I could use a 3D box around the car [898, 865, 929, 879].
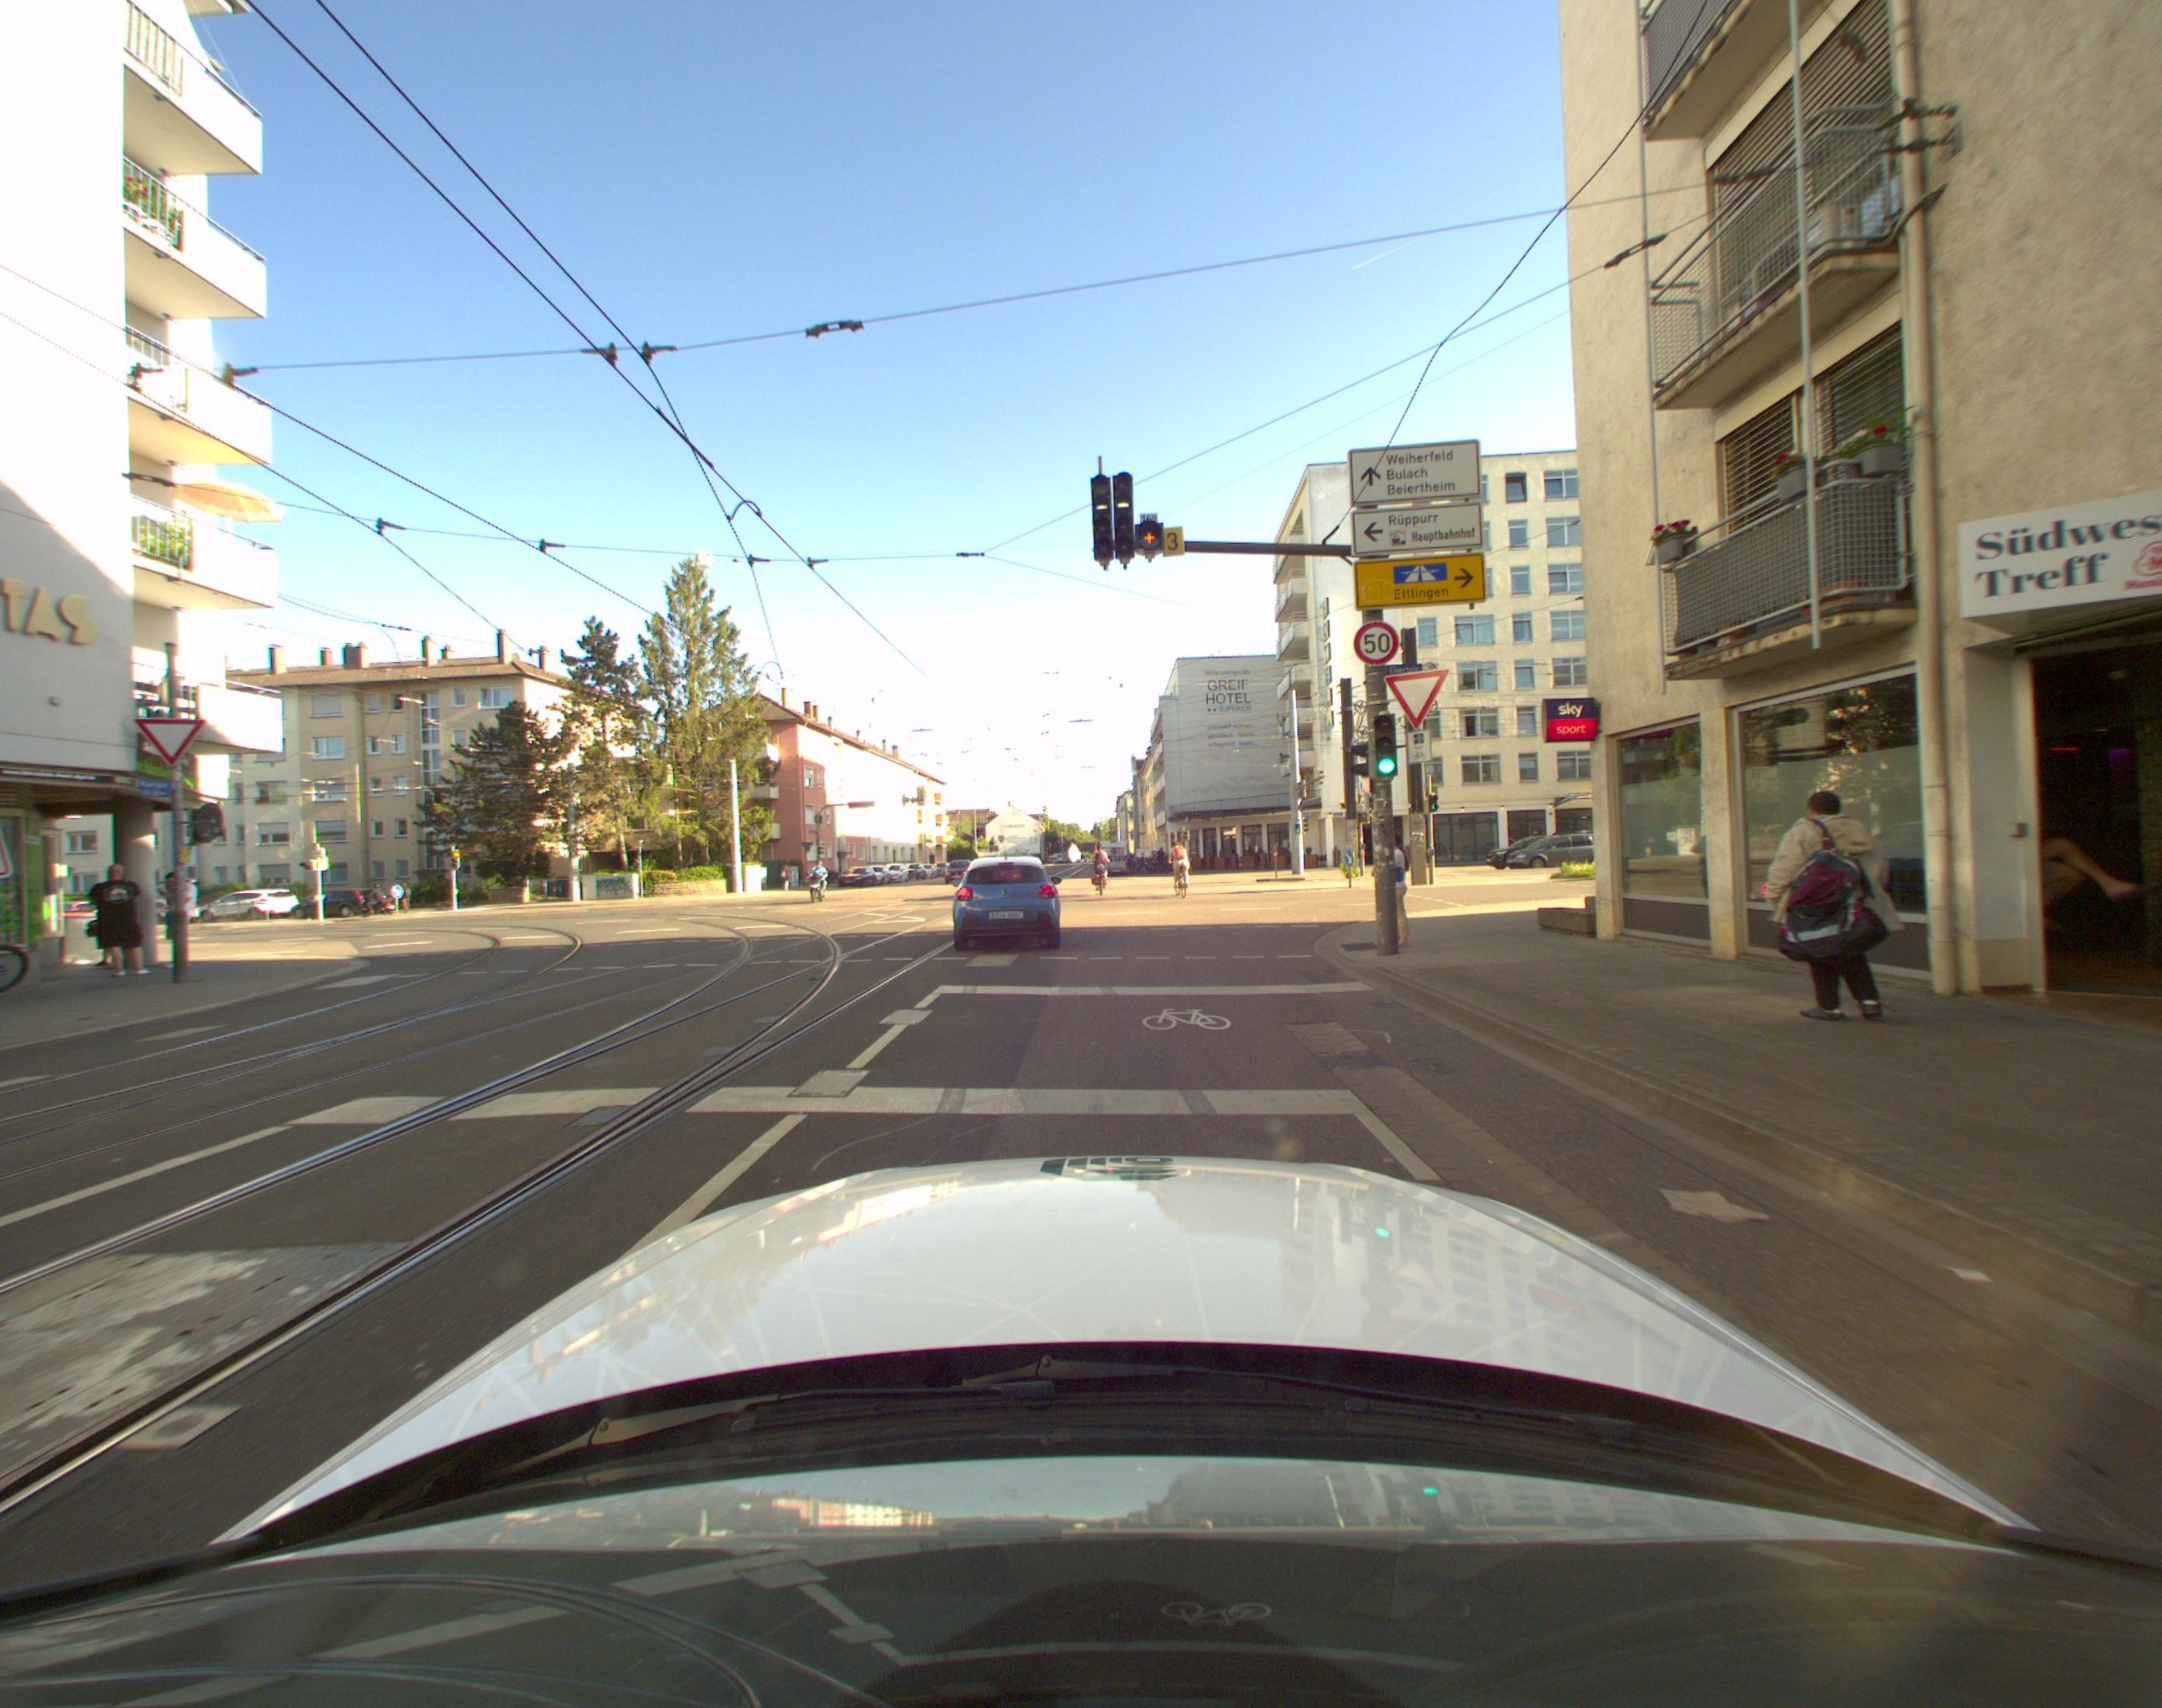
[{"bbox_3d":[-15.389,1.604,75.150,1.940,1.239,4.283,0,0,1],"label":"car"}]

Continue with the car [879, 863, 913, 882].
[{"bbox_3d":[-15.536,1.540,68.619,1.735,1.526,4.231,0,0,2],"label":"car"}]

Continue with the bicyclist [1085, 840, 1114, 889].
[{"bbox_3d":[0.659,0.369,28.556,0.936,1.673,1.080,0,-1,3],"label":"bicyclist"}]

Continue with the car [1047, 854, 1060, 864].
[{"bbox_3d":[-5.281,0.999,158.833,2.209,1.932,4.951,0,0,2],"label":"car"}]

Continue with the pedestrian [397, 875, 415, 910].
[{"bbox_3d":[-37.386,2.129,45.088,0.703,1.886,0.772,0,-1,-35],"label":"pedestrian"}]

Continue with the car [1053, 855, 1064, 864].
[{"bbox_3d":[-4.849,1.205,176.740,2.066,1.762,5.039,0,0,2],"label":"car"}]

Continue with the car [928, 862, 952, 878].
[{"bbox_3d":[-15.118,1.703,87.436,1.863,1.576,3.999,0,0,0],"label":"car"}]

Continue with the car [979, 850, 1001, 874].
[{"bbox_3d":[-12.060,1.082,107.927,2.408,3.142,3.490,0,-1,2],"label":"car"}]

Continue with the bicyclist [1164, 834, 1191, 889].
[{"bbox_3d":[3.024,0.243,25.463,0.806,1.692,0.937,0,-1,9],"label":"bicyclist"}]

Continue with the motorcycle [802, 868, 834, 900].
[{"bbox_3d":[-10.560,1.200,32.756,0.710,1.220,1.962,-2,-2,-4],"label":"motorcycle"}]

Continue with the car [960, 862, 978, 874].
[{"bbox_3d":[-14.780,1.851,107.415,1.863,1.576,3.999,0,0,0],"label":"car"}]

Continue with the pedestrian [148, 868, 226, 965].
[{"bbox_3d":[-17.059,1.178,15.554,0.731,1.792,0.663,-2,0,8],"label":"pedestrian"}]

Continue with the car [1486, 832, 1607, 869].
[{"bbox_3d":[21.306,-0.166,37.403,4.417,1.548,1.939,-1,-1,5],"label":"car"}]

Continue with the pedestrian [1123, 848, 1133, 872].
[{"bbox_3d":[3.317,0.435,57.378,0.611,1.654,0.671,0,-1,0],"label":"pedestrian"}]

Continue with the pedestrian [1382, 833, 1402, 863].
[{"bbox_3d":[18.500,-0.355,48.455,0.903,1.746,0.737,0,-1,1],"label":"pedestrian"}]

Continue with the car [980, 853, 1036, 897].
[{"bbox_3d":[-2.706,0.749,30.862,1.779,1.521,3.762,0,0,0],"label":"car"}]

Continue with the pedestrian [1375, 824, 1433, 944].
[{"bbox_3d":[4.638,0.422,11.661,0.534,1.624,0.737,-7,-3,26],"label":"pedestrian"}]

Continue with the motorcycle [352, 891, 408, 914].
[{"bbox_3d":[-34.509,2.392,40.103,1.932,1.047,0.856,0,-1,-4],"label":"motorcycle"}]

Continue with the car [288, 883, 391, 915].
[{"bbox_3d":[-40.502,2.430,44.541,4.039,1.628,1.874,0,-1,5],"label":"car"}]

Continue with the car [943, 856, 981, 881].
[{"bbox_3d":[-7.561,0.915,52.025,1.773,1.486,3.828,-3,0,0],"label":"car"}]

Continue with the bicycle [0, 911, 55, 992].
[{"bbox_3d":[-15.587,1.398,11.353,0.548,1.106,1.540,0,-1,4],"label":"bicycle"}]

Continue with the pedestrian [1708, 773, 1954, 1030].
[{"bbox_3d":[5.176,0.301,5.680,0.882,1.592,0.810,-4,0,-3],"label":"pedestrian"}]

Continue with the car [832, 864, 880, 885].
[{"bbox_3d":[-16.050,1.482,58.288,2.147,1.432,4.439,0,-2,0],"label":"car"}]

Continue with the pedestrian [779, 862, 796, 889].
[{"bbox_3d":[-18.364,1.333,50.877,0.788,1.722,0.696,0,-1,-43],"label":"pedestrian"}]

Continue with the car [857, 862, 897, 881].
[{"bbox_3d":[-15.908,1.375,63.693,1.895,1.436,4.106,0,0,3],"label":"car"}]

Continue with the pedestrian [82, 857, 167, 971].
[{"bbox_3d":[-16.362,1.013,13.939,0.568,1.900,0.742,-2,-3,19],"label":"pedestrian"}]

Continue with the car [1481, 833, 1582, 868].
[{"bbox_3d":[22.410,-0.163,40.651,4.017,1.575,1.796,-1,-1,2],"label":"car"}]

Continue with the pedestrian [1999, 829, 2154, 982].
[{"bbox_3d":[7.744,0.375,6.346,0.627,1.087,0.672,-3,0,-32],"label":"pedestrian"}]

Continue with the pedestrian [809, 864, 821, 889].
[{"bbox_3d":[-16.432,1.387,50.255,0.514,1.568,0.574,0,-1,2],"label":"pedestrian"}]

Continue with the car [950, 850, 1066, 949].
[{"bbox_3d":[-1.266,0.702,14.212,1.734,1.452,3.655,-1,0,-5],"label":"car"}]

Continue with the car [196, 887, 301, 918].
[{"bbox_3d":[-45.801,2.649,44.861,4.005,1.598,1.774,0,-1,1],"label":"car"}]

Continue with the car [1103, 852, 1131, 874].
[{"bbox_3d":[2.405,0.614,55.596,1.653,1.431,3.886,0,0,-1],"label":"car"}]

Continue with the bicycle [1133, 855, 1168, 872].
[{"bbox_3d":[4.682,0.665,54.790,2.244,1.001,0.856,-3,-1,0],"label":"bicycle"}]

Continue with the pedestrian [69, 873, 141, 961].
[{"bbox_3d":[-19.348,1.240,16.150,0.751,1.652,0.704,-6,-4,22],"label":"pedestrian"}]

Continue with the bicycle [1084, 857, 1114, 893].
[{"bbox_3d":[0.658,0.715,28.515,0.936,1.223,2.096,0,-1,4],"label":"bicycle"}]

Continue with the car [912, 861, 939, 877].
[{"bbox_3d":[-15.500,1.499,81.381,1.863,1.576,3.999,0,0,0],"label":"car"}]

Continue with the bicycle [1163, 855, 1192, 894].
[{"bbox_3d":[3.041,0.634,25.538,0.806,1.181,2.069,0,-1,9],"label":"bicycle"}]

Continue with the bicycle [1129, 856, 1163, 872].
[{"bbox_3d":[4.467,0.689,55.912,2.244,1.001,0.856,-3,-1,0],"label":"bicycle"}]

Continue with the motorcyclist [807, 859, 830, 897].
[{"bbox_3d":[-10.571,0.959,32.842,0.692,1.497,0.683,-2,-2,-4],"label":"motorcyclist"}]

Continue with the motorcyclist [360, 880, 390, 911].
[{"bbox_3d":[-34.758,2.016,40.092,0.725,1.488,0.856,0,-1,-4],"label":"motorcyclist"}]

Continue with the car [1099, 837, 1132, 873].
[{"bbox_3d":[2.493,0.099,60.644,2.258,2.482,5.007,-1,0,0],"label":"car"}]

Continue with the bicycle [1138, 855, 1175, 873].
[{"bbox_3d":[4.943,0.657,53.405,2.244,1.001,0.856,-3,-1,0],"label":"bicycle"}]
